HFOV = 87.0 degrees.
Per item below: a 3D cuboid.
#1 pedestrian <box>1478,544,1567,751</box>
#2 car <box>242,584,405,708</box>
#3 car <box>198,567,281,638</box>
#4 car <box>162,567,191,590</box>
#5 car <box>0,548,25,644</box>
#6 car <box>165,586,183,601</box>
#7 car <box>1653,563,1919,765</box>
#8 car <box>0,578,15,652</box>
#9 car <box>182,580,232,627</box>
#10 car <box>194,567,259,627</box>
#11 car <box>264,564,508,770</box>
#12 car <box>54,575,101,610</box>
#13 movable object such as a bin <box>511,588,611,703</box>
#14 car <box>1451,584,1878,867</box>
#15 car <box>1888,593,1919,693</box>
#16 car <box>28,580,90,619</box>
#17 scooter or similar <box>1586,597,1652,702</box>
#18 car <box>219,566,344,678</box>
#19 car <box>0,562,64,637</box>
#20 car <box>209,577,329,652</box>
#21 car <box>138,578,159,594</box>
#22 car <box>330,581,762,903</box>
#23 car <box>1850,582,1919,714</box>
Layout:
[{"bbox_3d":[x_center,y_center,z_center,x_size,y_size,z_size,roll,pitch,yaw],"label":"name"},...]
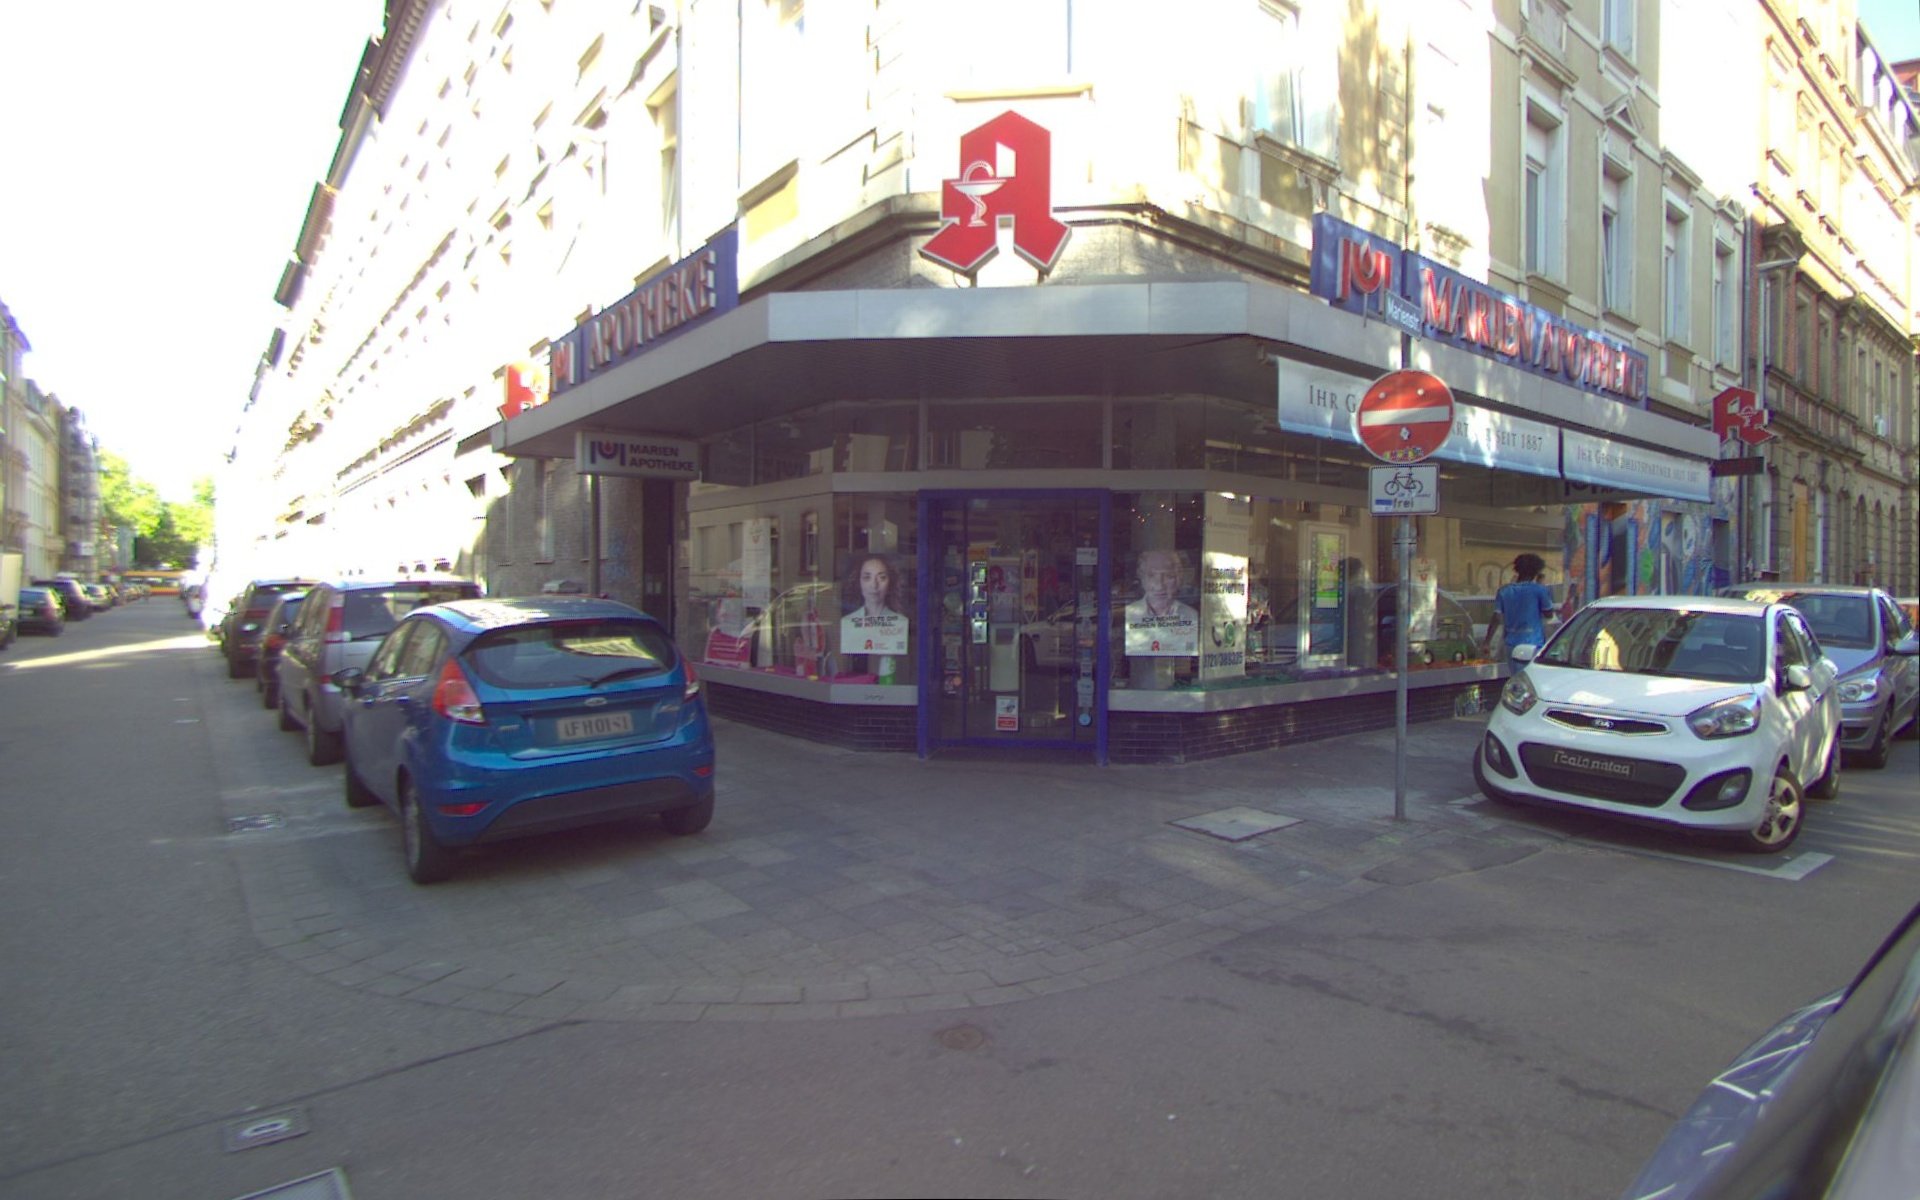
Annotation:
[{"bbox_3d":[5.436,0.440,9.784,0.520,1.918,0.563,-1,0,-39],"label":"pedestrian"},{"bbox_3d":[-8.965,0.515,14.121,1.531,1.473,3.987,-1,1,-38],"label":"car"},{"bbox_3d":[-20.750,0.077,29.076,1.701,1.895,3.939,-1,0,-39],"label":"car"},{"bbox_3d":[-71.683,-1.930,92.574,1.964,2.039,3.995,-1,0,-39],"label":"car"},{"bbox_3d":[-25.835,-0.111,26.391,1.803,2.410,3.423,-1,1,-38],"label":"car"},{"bbox_3d":[-109.222,-0.864,140.625,1.964,1.939,3.996,-1,0,-38],"label":"car"},{"bbox_3d":[8.722,0.498,10.324,3.992,1.671,1.703,-1,0,-40],"label":"car"},{"bbox_3d":[-22.255,0.333,22.453,1.558,1.626,3.582,-1,1,-38],"label":"car"},{"bbox_3d":[-34.893,0.157,46.858,1.701,2.058,4.194,-1,0,-39],"label":"car"},{"bbox_3d":[-26.869,-0.093,37.025,1.701,2.058,4.194,-1,0,-39],"label":"car"},{"bbox_3d":[-5.835,0.513,10.074,1.600,1.650,3.744,0,1,-38],"label":"car"},{"bbox_3d":[-46.678,-0.417,53.564,1.703,1.775,3.272,0,1,-38],"label":"car"},{"bbox_3d":[-4.839,0.518,12.263,0.846,1.300,1.020,-2,1,-38],"label":"movable object such as a bin"},{"bbox_3d":[5.135,0.653,7.210,3.578,1.481,1.691,-1,0,-42],"label":"car"},{"bbox_3d":[16.489,0.635,16.264,3.839,1.505,1.591,-1,0,-36],"label":"car"},{"bbox_3d":[-37.169,-0.057,41.802,1.703,1.523,3.272,0,1,-38],"label":"car"},{"bbox_3d":[8.555,0.615,13.127,1.018,1.296,0.396,-1,0,-39],"label":"scooter or similar"},{"bbox_3d":[-11.947,0.303,17.710,1.531,1.739,3.987,-1,1,-38],"label":"car"},{"bbox_3d":[-28.489,-0.032,30.713,1.703,2.168,3.272,-1,1,-38],"label":"car"},{"bbox_3d":[-15.664,0.290,22.869,1.964,1.545,3.635,-1,0,-39],"label":"car"},{"bbox_3d":[-102.131,-1.729,127.393,1.964,1.939,3.996,-1,0,-38],"label":"car"},{"bbox_3d":[-2.923,0.630,6.698,1.756,1.504,3.582,-1,1,-38],"label":"car"},{"bbox_3d":[13.081,0.543,13.153,4.125,1.546,1.558,-1,0,-38],"label":"car"}]
